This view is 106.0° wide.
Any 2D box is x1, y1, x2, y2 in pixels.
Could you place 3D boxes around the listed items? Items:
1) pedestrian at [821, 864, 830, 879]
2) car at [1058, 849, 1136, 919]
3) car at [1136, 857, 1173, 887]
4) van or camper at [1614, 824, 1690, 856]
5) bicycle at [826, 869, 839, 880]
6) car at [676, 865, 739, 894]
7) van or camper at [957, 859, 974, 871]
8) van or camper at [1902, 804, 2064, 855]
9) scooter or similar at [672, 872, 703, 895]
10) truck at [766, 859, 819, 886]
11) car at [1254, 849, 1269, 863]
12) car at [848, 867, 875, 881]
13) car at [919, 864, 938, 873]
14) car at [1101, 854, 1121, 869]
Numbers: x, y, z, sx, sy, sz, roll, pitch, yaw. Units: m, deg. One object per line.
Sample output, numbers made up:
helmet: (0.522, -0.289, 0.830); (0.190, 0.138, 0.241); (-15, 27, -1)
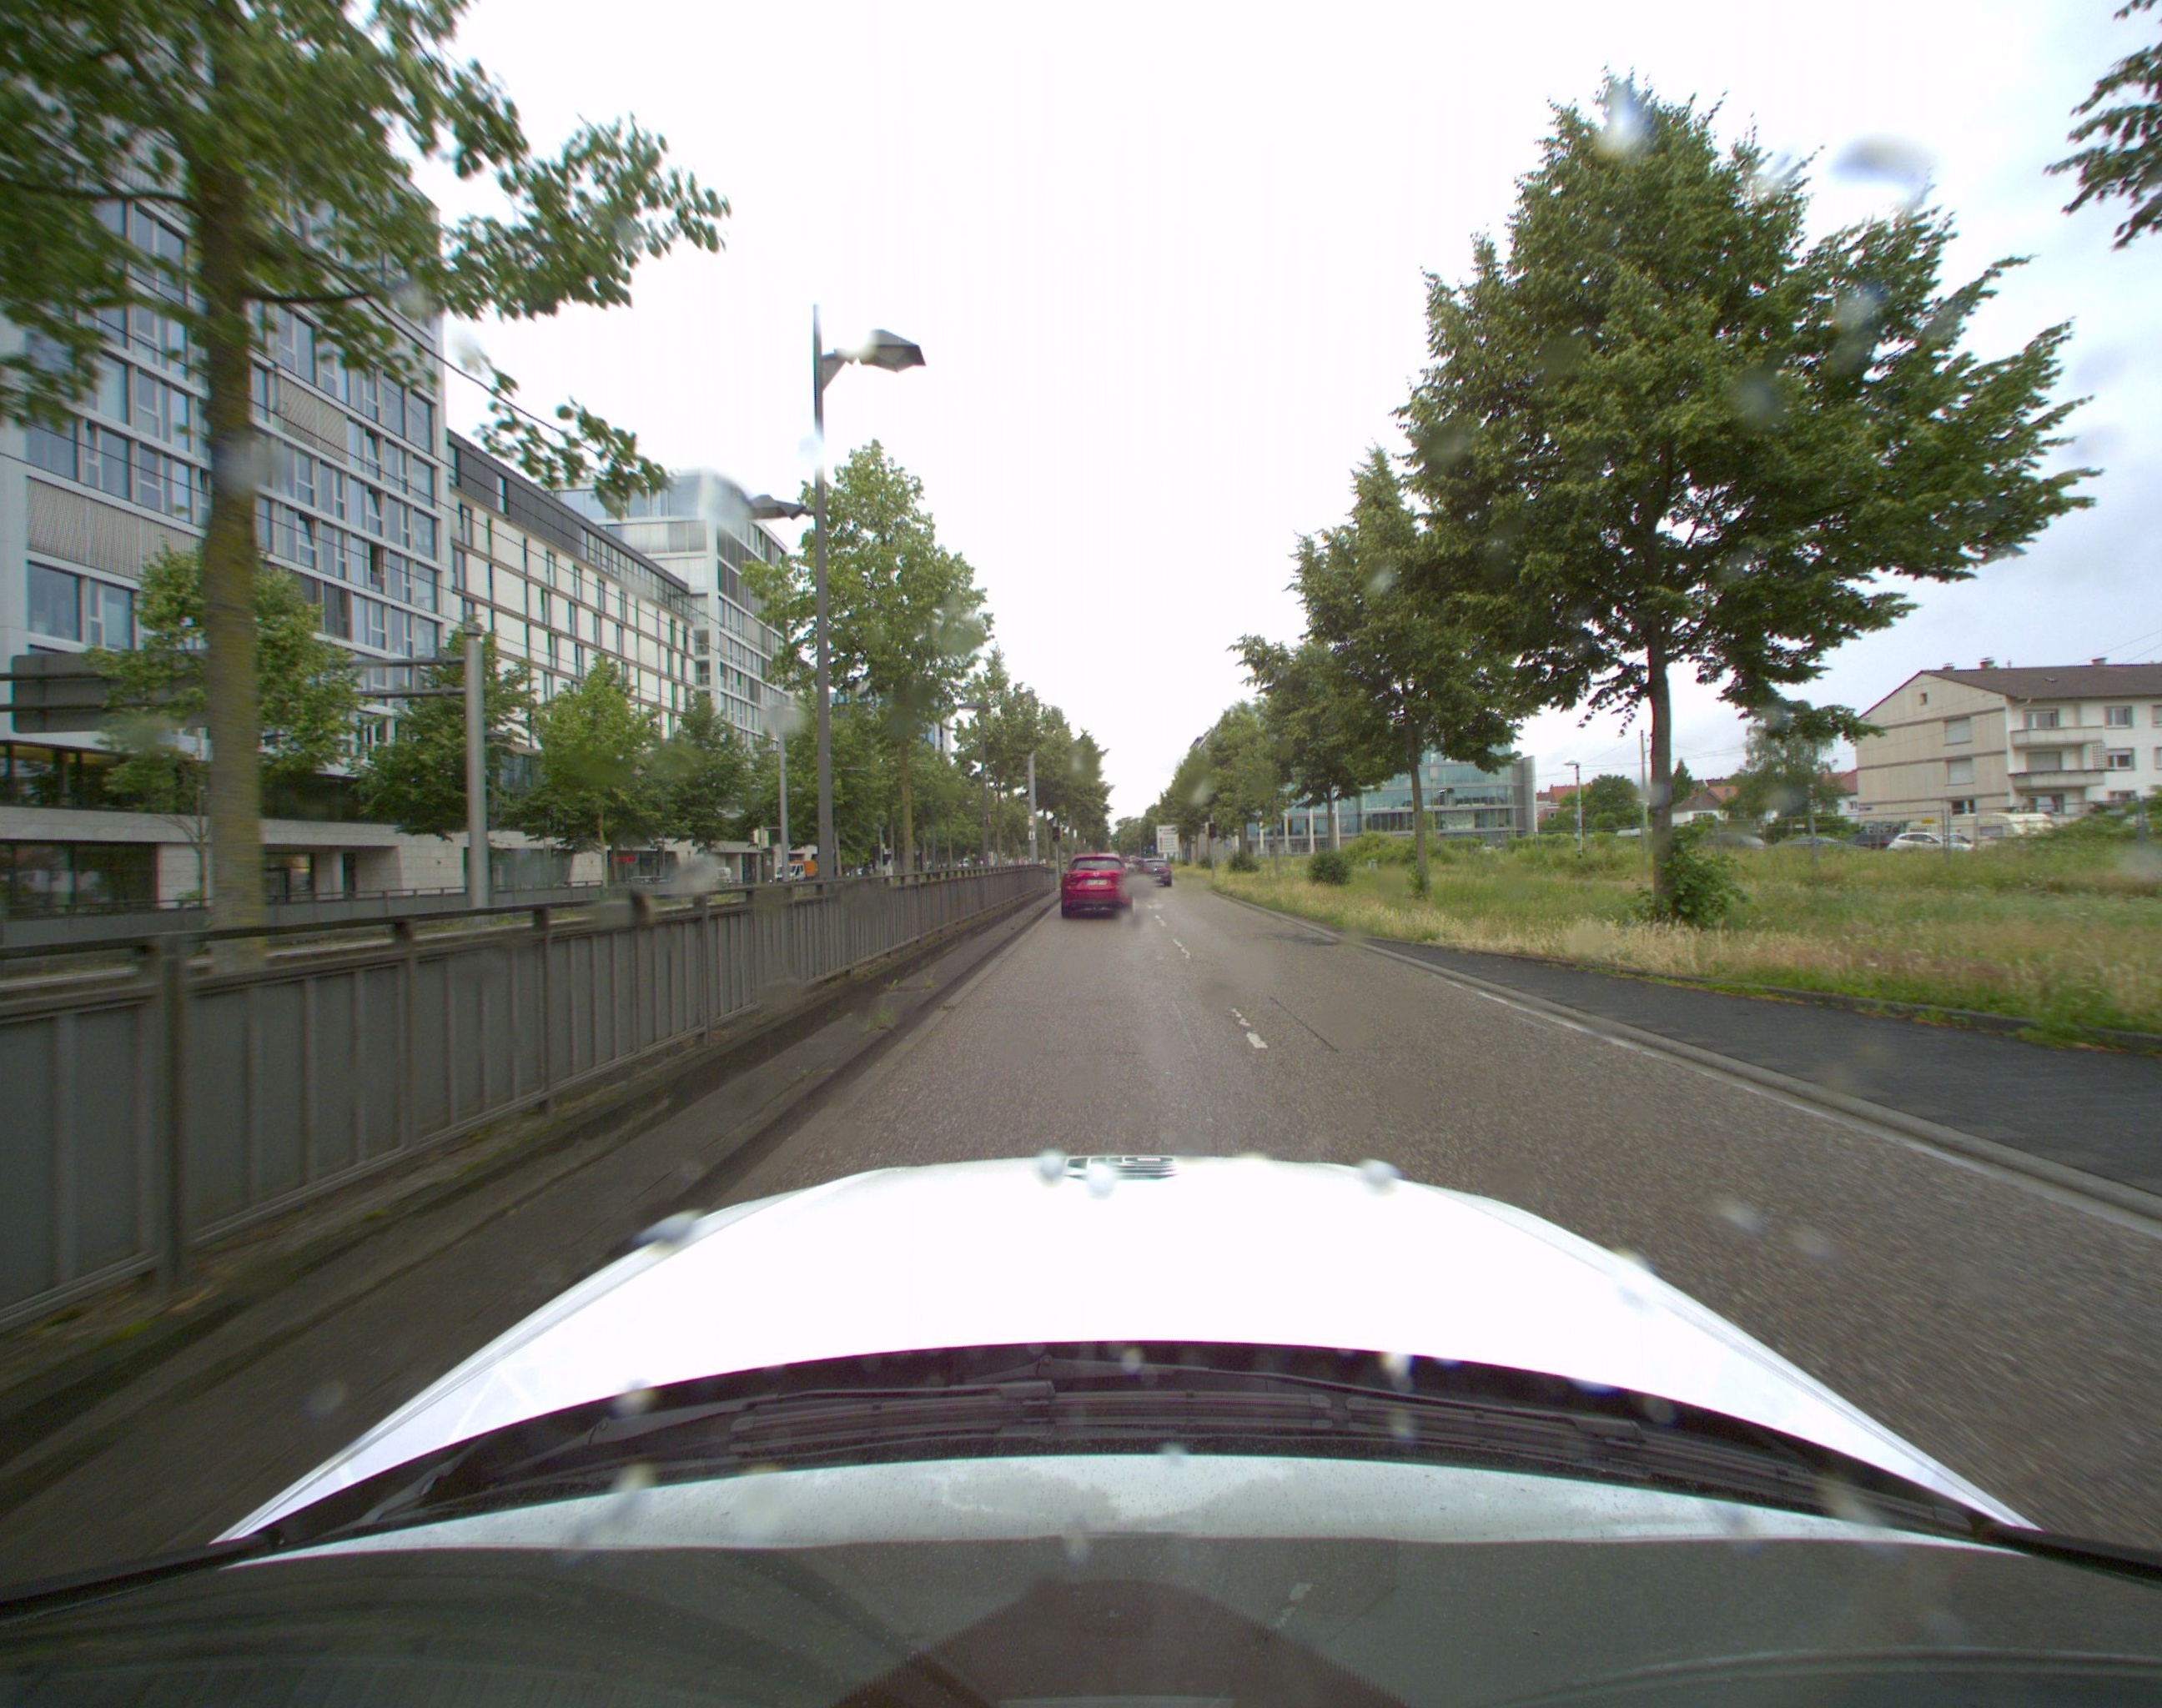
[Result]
pedestrian: (-34.191, 2.372, 108.934); (0.789, 1.981, 0.858); (-2, 0, 10)
car: (0.438, 0.743, 22.061); (1.891, 1.677, 4.001); (-1, 0, 1)
car: (3.816, 0.899, 42.856); (1.736, 1.465, 3.784); (-1, 0, 3)
van or camper: (57.653, -1.383, 82.494); (2.897, 2.994, 6.775); (-2, 0, 0)
bicycle: (-24.010, 1.989, 78.665); (0.596, 0.945, 1.760); (-2, 0, 5)
car: (-26.593, 1.767, 58.244); (1.986, 1.852, 5.166); (-2, 0, 1)
van or camper: (-22.854, 2.124, 161.420); (2.424, 2.315, 5.853); (-2, 0, 2)
van or camper: (52.540, -1.350, 47.703); (2.301, 2.689, 6.395); (-2, 0, 0)
scooter or similar: (-33.147, 2.476, 68.646); (2.119, 1.825, 0.884); (-2, 0, -3)
truck: (-26.483, 1.619, 74.980); (2.417, 2.291, 6.311); (-2, 0, 2)
car: (25.570, 0.261, 115.330); (1.844, 1.581, 4.008); (-1, -5, 9)
car: (-25.024, 2.233, 93.054); (1.848, 1.465, 3.989); (-2, 0, 1)
car: (-24.041, 2.243, 128.446); (1.986, 1.378, 4.002); (-2, 0, 2)
car: (3.021, 0.726, 82.823); (1.961, 1.437, 4.552); (0, 0, 1)
